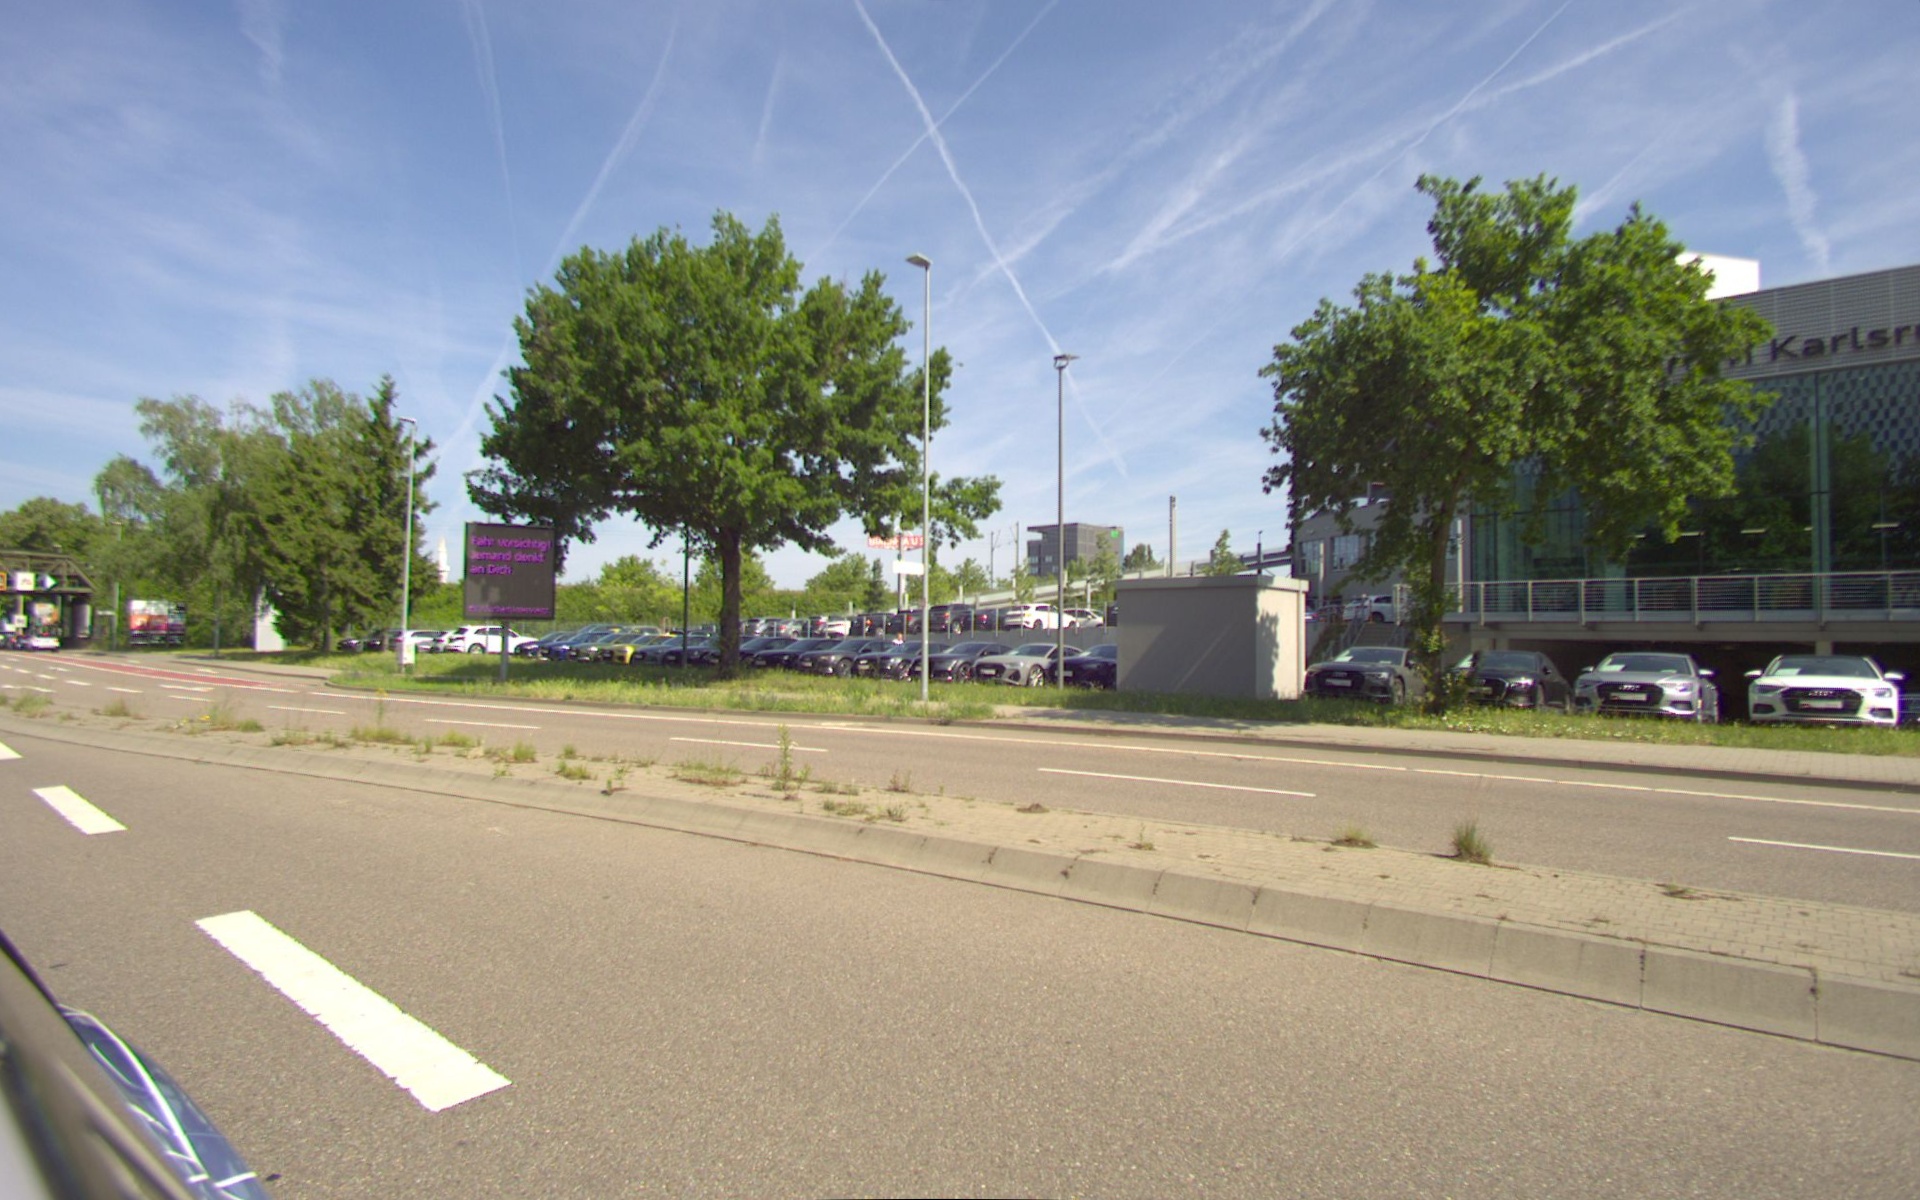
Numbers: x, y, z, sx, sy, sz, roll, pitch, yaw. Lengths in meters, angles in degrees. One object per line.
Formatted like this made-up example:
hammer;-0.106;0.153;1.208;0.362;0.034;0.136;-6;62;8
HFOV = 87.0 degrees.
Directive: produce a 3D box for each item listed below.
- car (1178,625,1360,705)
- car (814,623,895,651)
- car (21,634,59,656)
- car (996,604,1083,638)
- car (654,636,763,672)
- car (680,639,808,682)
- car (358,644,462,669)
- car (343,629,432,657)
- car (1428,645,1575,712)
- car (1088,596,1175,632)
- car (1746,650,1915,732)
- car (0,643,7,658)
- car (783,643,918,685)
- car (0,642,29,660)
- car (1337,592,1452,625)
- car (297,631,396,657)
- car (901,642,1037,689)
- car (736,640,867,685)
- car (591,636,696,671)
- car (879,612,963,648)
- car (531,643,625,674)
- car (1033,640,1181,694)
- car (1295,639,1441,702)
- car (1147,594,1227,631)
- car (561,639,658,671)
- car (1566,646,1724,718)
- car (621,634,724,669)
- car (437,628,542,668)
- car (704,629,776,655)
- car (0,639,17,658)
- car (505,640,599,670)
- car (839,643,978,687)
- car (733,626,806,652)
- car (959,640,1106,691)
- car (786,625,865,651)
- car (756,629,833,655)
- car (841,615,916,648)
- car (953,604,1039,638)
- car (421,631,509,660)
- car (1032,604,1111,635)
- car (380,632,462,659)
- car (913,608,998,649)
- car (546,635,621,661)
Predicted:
car;7.846;1.618;25.885;3.998;1.891;1.973;-2;-3;41
car;-5.941;2.107;57.313;1.978;1.496;4.455;-2;-3;39
car;-73.195;3.578;80.496;1.970;1.630;4.106;5;-5;-44
car;3.868;1.061;48.599;1.978;1.496;4.455;-2;-3;39
car;-9.699;2.098;39.197;1.983;1.295;3.643;-2;-5;39
car;-8.037;2.244;37.939;1.978;1.487;4.455;-2;-3;39
car;-31.208;3.181;57.502;1.999;1.278;4.801;-2;-2;41
car;-33.766;2.520;59.732;1.999;1.558;4.170;-2;-2;41
car;10.958;1.613;20.368;1.895;1.165;3.947;-2;-7;39
car;7.638;0.617;44.934;2.050;1.507;3.945;-2;-2;41
car;14.682;1.566;17.226;1.953;1.199;4.132;-2;-7;39
car;-93.106;4.848;97.421;4.317;1.398;1.618;-2;-4;42
car;-3.588;2.110;33.958;1.918;1.300;4.455;-2;-3;39
car;-85.460;4.561;91.274;4.025;1.530;1.680;-2;-5;41
car;20.368;0.411;47.491;4.589;1.475;1.928;0;-1;-10
car;-36.539;2.590;60.366;1.999;1.400;4.638;-2;-2;41
car;0.358;1.924;30.376;1.690;1.300;4.455;-2;-3;39
car;-5.509;2.171;35.675;1.918;1.487;4.455;-2;-3;39
car;-13.327;2.262;42.784;1.838;1.351;3.848;-2;-5;39
car;-1.999;1.621;53.455;1.978;1.829;4.455;-2;-3;39
car;-17.299;2.653;45.919;1.743;1.295;3.558;-2;-5;39
car;4.003;1.741;27.033;1.918;1.300;4.455;-2;-3;39
car;9.003;1.571;22.178;1.895;1.165;3.947;-2;-7;39
car;9.743;0.554;43.269;1.667;1.507;3.945;-2;-2;41
car;-15.307;2.415;44.334;1.661;1.295;3.705;-2;-5;39
car;12.843;1.564;18.874;2.085;1.165;4.132;-2;-7;39
car;-11.576;2.096;40.915;1.863;1.295;3.558;-2;-5;39
car;-23.688;2.392;51.098;2.000;1.889;4.415;-2;-2;42
car;-13.849;2.627;63.988;1.997;1.488;4.162;-2;-2;38
car;-98.769;4.949;104.043;5.448;1.875;1.973;-2;-5;41
car;-19.240;2.582;47.786;1.743;1.295;3.753;-2;-2;39
car;-1.561;2.029;32.204;1.918;1.300;4.455;-2;-3;39
car;-11.754;2.384;62.601;1.997;1.488;4.162;-2;-2;38
car;2.151;1.820;28.760;2.002;1.300;4.455;-2;-3;39
car;-7.765;2.227;58.770;1.978;1.496;4.455;-2;-3;39
car;-9.843;2.488;60.385;1.889;1.429;4.455;-2;-2;39
car;-4.445;1.761;55.519;1.663;1.718;4.226;-2;-3;39
car;1.840;1.080;50.238;1.978;1.563;4.455;-2;-3;39
car;-27.154;2.468;55.578;1.848;1.497;3.941;-2;-2;45
car;5.991;1.072;54.489;3.786;1.586;1.930;-2;-2;41
car;-29.819;2.507;56.046;1.815;1.381;3.642;-2;-2;41
car;-0.197;1.488;51.856;1.978;1.977;4.455;-2;-3;39
car;-24.335;3.091;65.502;1.803;1.576;4.200;-2;-2;40
